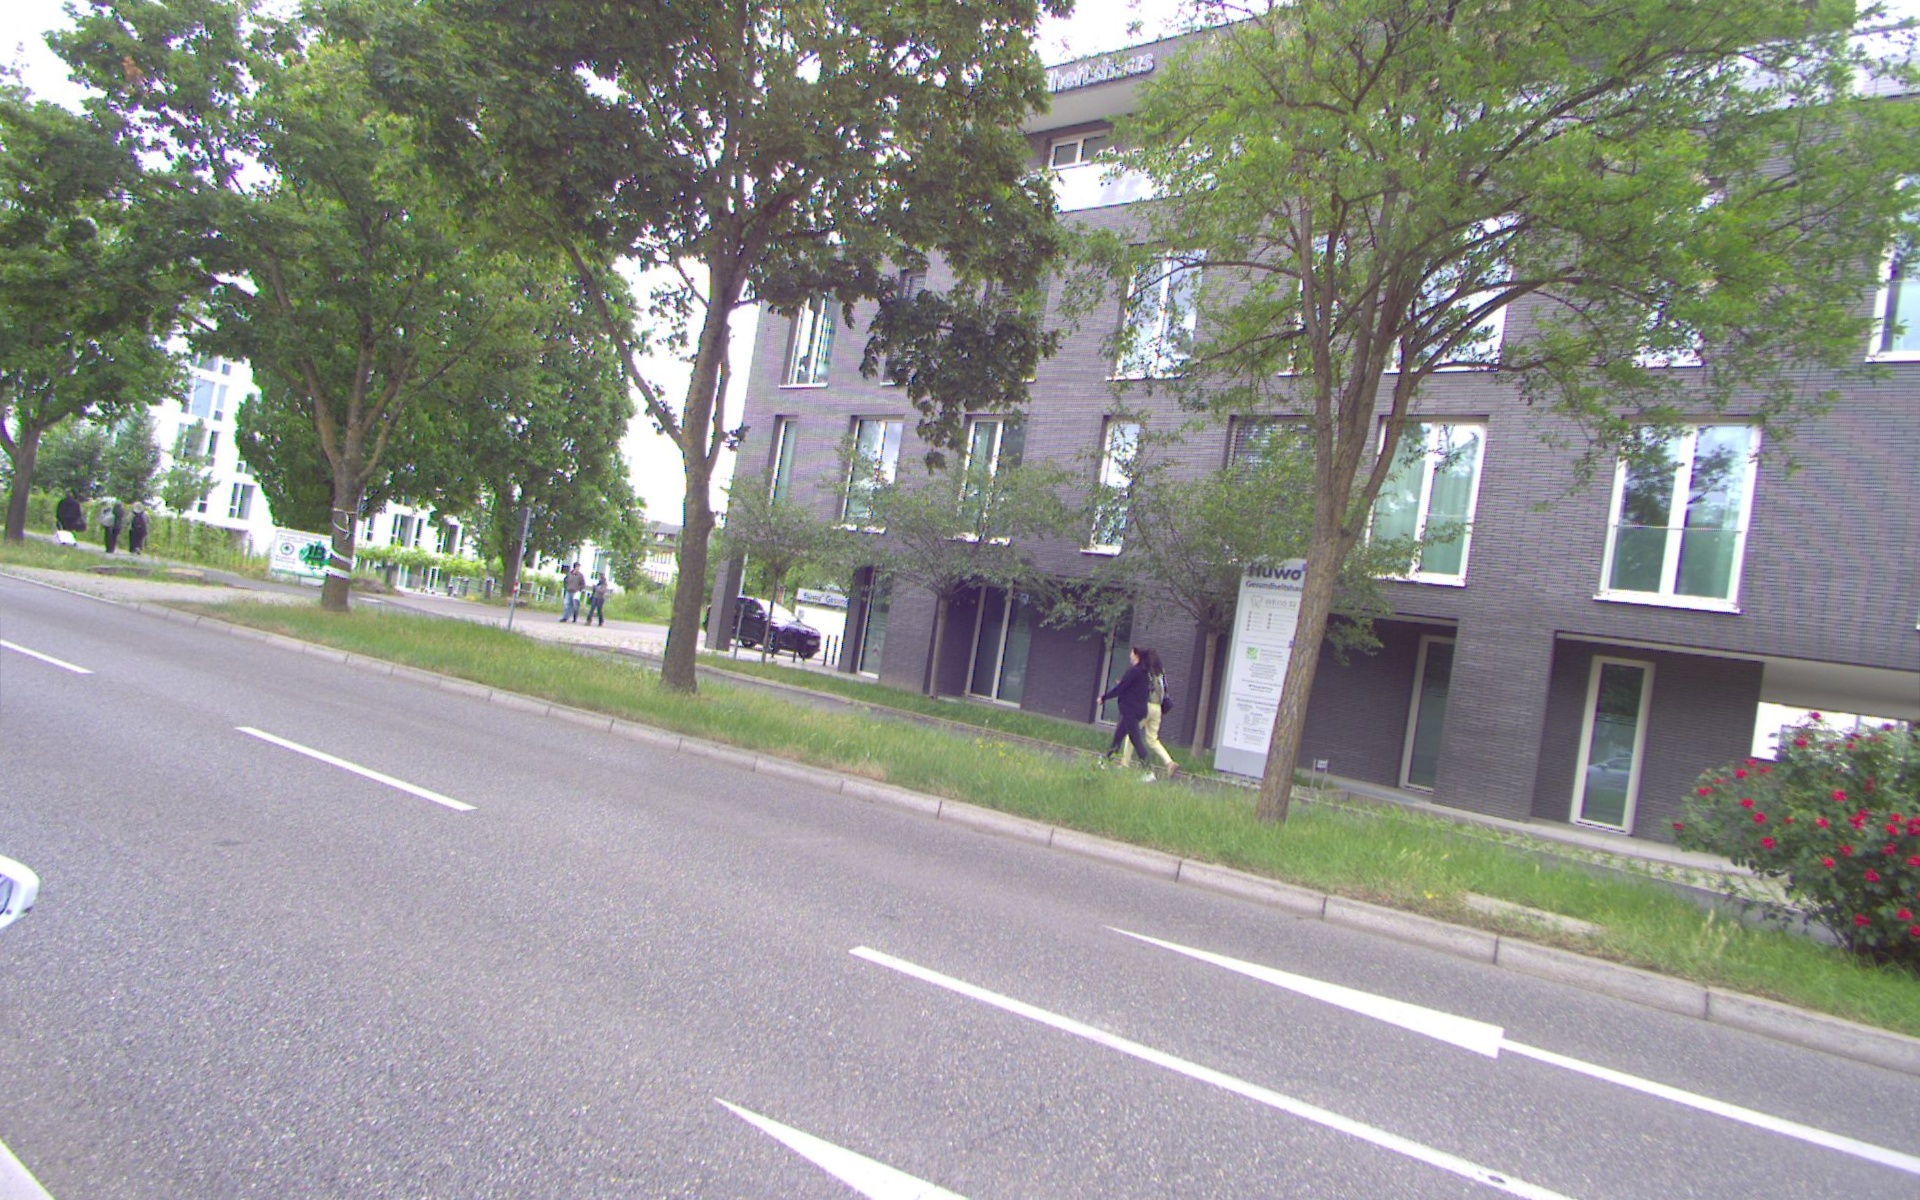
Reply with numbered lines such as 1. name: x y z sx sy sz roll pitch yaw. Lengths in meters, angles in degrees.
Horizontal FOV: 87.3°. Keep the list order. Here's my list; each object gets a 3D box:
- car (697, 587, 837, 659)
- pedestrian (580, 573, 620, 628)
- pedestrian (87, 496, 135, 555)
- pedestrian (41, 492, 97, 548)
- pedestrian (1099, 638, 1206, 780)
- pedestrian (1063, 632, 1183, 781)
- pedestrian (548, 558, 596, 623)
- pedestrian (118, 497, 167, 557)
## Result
1. car: -6.105 0.720 31.692 4.080 1.665 1.759 7 -2 32
2. pedestrian: -11.210 0.027 31.374 0.821 1.575 0.875 8 -1 -8
3. pedestrian: -25.440 -2.224 30.139 0.868 1.614 0.701 6 -1 31
4. pedestrian: -25.828 -2.313 29.169 1.093 1.465 0.791 6 -1 31
5. pedestrian: 2.521 1.422 13.179 0.937 1.679 0.779 7 -1 38
6. pedestrian: 2.054 1.329 12.654 1.043 1.679 0.796 7 -1 38
7. pedestrian: -12.034 -0.276 31.243 0.946 1.889 0.978 8 -1 -8
8. pedestrian: -25.159 -2.251 30.970 0.868 1.705 0.768 6 -1 31
